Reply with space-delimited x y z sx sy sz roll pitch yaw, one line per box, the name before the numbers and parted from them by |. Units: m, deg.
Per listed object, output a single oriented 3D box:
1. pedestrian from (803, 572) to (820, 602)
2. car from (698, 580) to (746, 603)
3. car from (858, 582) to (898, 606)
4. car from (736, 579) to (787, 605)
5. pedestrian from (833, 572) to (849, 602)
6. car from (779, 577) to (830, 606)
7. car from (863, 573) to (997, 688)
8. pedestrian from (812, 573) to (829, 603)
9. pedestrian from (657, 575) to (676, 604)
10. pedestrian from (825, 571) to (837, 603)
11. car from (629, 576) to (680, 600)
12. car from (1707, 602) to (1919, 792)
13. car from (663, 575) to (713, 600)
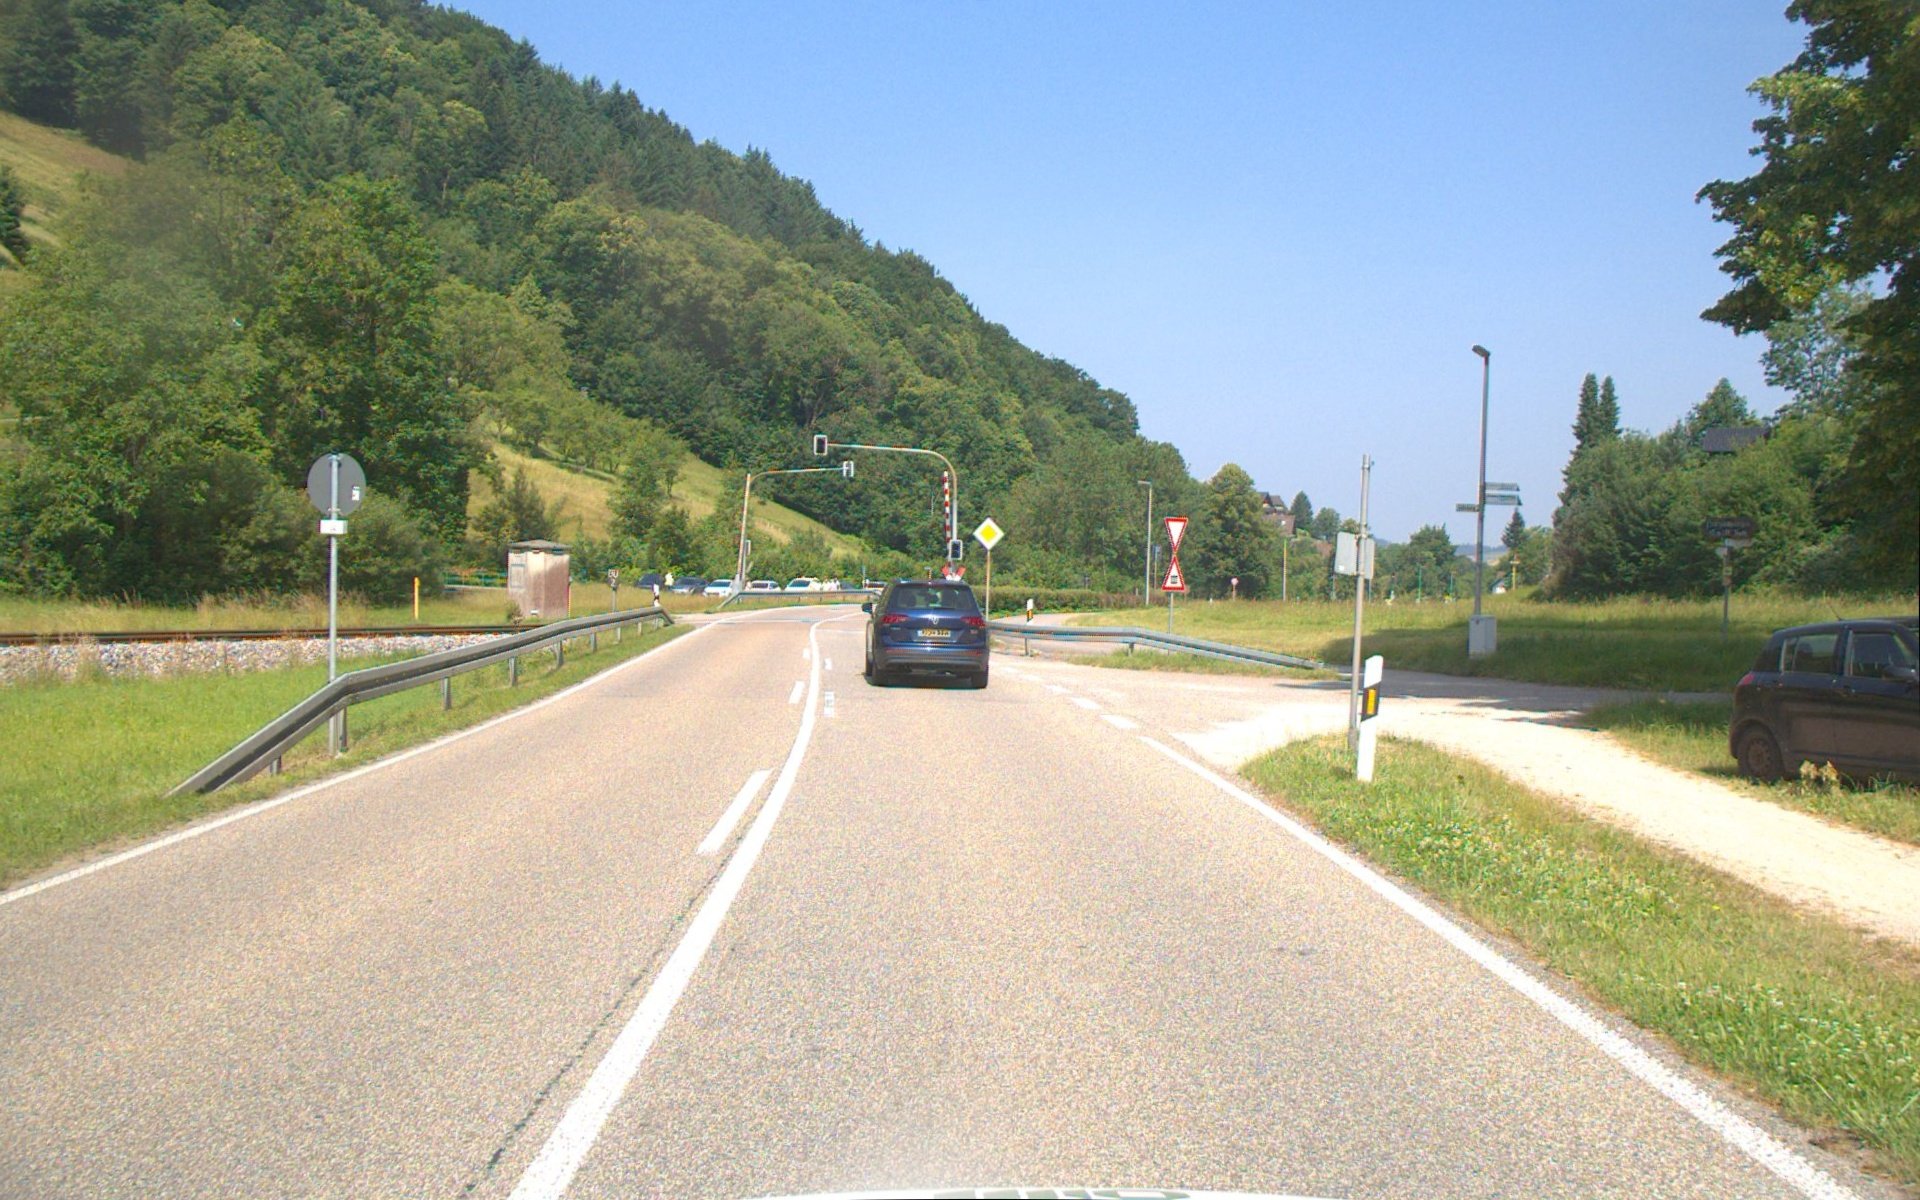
pedestrian | -9.203 -0.800 102.401 0.772 1.874 0.698 1 0 22
car | -15.842 -0.553 110.331 1.951 1.527 4.525 1 0 9
car | -5.312 -0.372 107.910 1.787 1.527 4.281 1 0 9
car | -13.189 -0.518 110.300 1.951 1.670 4.906 1 0 11
pedestrian | -7.394 -0.796 103.166 0.638 1.891 0.765 0 0 45
car | -10.347 -0.551 110.402 1.831 1.813 4.776 2 0 14
car | -0.558 0.455 26.460 1.817 1.678 4.135 1 0 -6
pedestrian | -8.702 -0.746 103.168 0.756 1.827 0.790 0 0 38
pedestrian | -18.544 -0.679 104.612 0.934 1.826 1.000 1 -1 3
pedestrian | -7.999 -0.812 102.588 0.646 1.989 0.533 0 0 1
car | -20.600 -0.806 111.615 1.951 1.527 4.525 1 0 9
car | 8.159 0.754 13.738 1.645 1.482 3.703 -1 -1 -13
car | -18.218 -0.833 111.012 1.951 1.527 4.525 3 0 9
